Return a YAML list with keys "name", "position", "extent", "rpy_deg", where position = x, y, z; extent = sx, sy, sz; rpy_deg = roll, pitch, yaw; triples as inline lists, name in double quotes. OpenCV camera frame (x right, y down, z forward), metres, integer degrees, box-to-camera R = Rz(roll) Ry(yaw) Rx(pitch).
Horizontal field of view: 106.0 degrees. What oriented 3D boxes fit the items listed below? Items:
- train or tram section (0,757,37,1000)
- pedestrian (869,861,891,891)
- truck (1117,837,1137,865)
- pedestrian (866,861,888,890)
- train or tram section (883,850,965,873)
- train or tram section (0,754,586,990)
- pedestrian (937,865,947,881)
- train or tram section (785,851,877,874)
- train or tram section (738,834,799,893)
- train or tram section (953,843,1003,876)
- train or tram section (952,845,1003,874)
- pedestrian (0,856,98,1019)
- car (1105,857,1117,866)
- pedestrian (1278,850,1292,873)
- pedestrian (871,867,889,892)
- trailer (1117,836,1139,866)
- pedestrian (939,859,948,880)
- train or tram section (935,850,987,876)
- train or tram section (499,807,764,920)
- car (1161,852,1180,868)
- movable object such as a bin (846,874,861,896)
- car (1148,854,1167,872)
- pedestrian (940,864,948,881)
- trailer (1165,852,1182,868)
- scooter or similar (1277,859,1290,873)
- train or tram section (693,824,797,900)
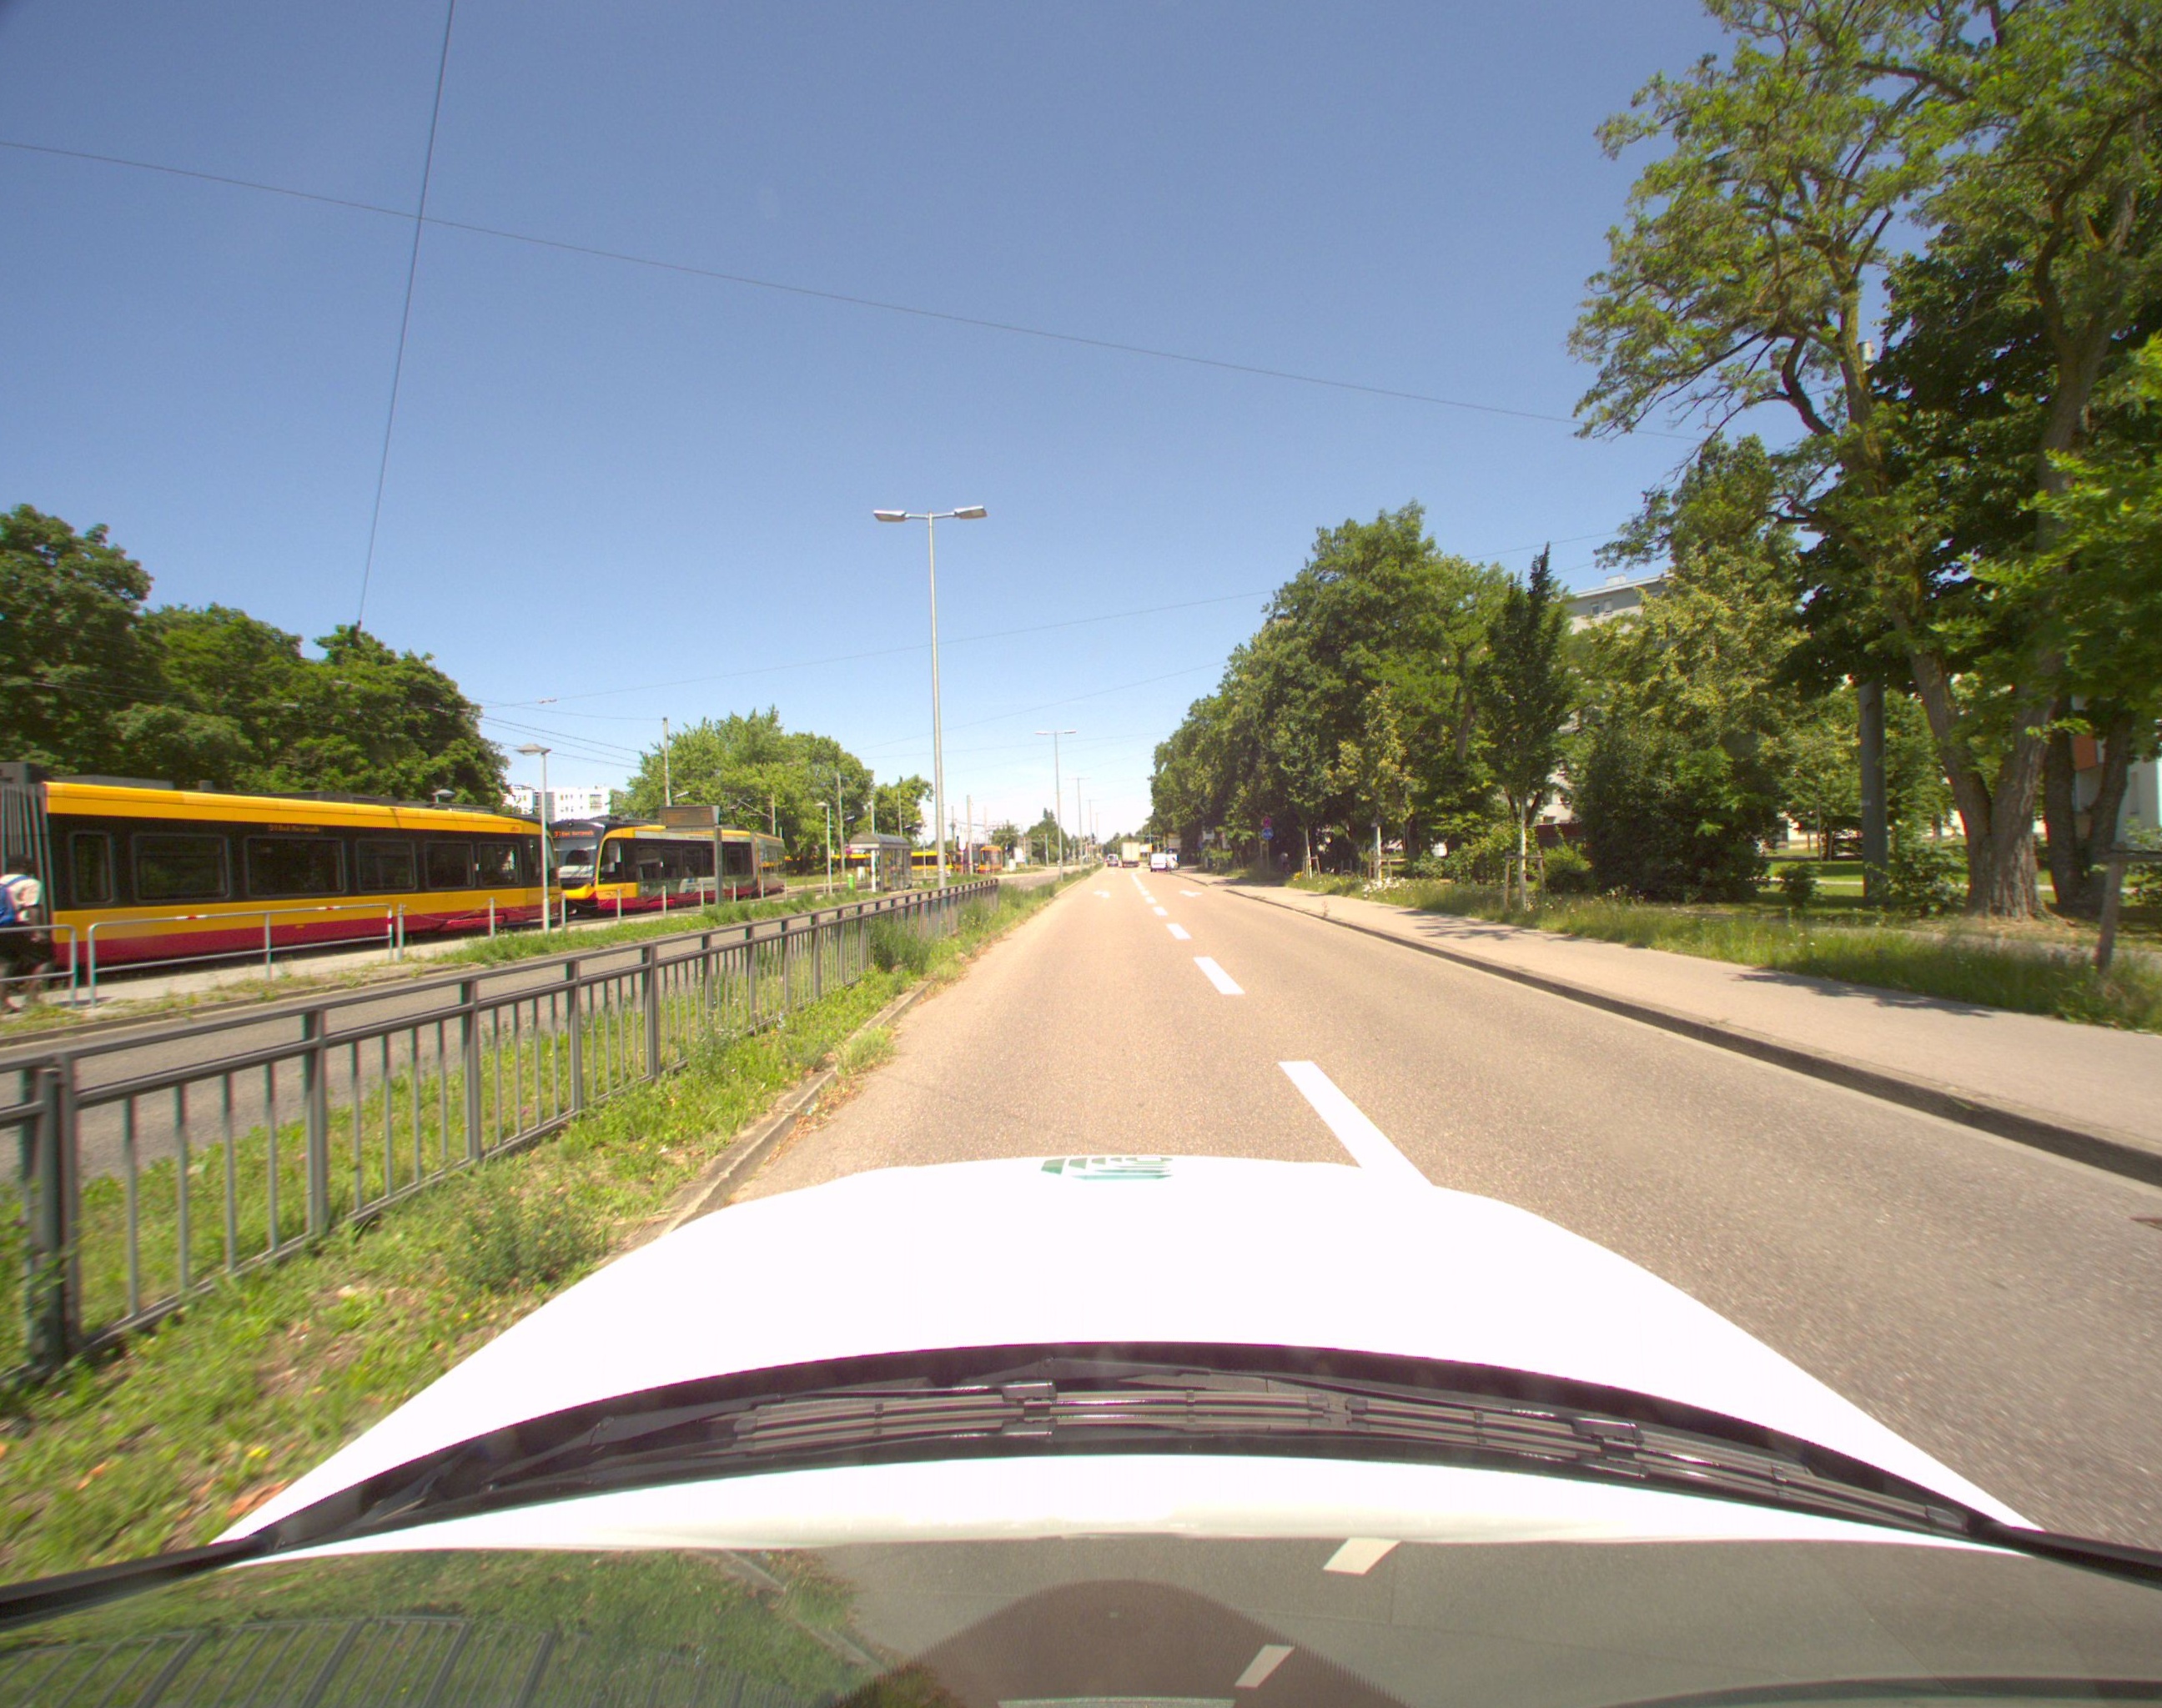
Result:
- name: "train or tram section"
  position: [-18.392, 0.388, 6.715]
  extent: [3.032, 3.741, 12.602]
  rpy_deg: [-1, 0, 2]
- name: "pedestrian"
  position: [-10.677, 1.152, 43.320]
  extent: [0.871, 1.546, 1.026]
  rpy_deg: [-1, 0, 0]
- name: "truck"
  position: [7.331, -0.431, 130.380]
  extent: [2.817, 4.344, 8.285]
  rpy_deg: [0, 0, 1]
- name: "pedestrian"
  position: [-11.120, 1.175, 44.455]
  extent: [0.927, 1.546, 0.985]
  rpy_deg: [-1, 0, 0]
- name: "train or tram section"
  position: [-24.262, 1.181, 125.418]
  extent: [12.600, 3.466, 3.062]
  rpy_deg: [-1, 0, 21]
- name: "train or tram section"
  position: [-17.808, 0.308, 19.693]
  extent: [3.031, 3.767, 13.270]
  rpy_deg: [-1, 0, 3]
- name: "pedestrian"
  position: [-10.052, 1.370, 59.008]
  extent: [0.578, 1.189, 0.537]
  rpy_deg: [-1, 0, 3]
- name: "train or tram section"
  position: [-38.878, 1.296, 126.912]
  extent: [13.196, 3.466, 3.042]
  rpy_deg: [-1, 0, -4]
- name: "train or tram section"
  position: [-21.913, 0.591, 56.679]
  extent: [3.059, 3.624, 12.348]
  rpy_deg: [0, 0, -25]
- name: "train or tram section"
  position: [-11.531, 0.554, 92.693]
  extent: [3.022, 3.466, 13.308]
  rpy_deg: [-1, 0, 4]
- name: "train or tram section"
  position: [-13.414, 0.680, 104.417]
  extent: [3.054, 3.466, 10.129]
  rpy_deg: [0, 0, -28]
- name: "pedestrian"
  position: [-12.069, 0.916, 9.348]
  extent: [0.629, 1.791, 0.776]
  rpy_deg: [-1, 0, 0]
- name: "car"
  position: [4.860, 1.221, 133.068]
  extent: [1.885, 1.371, 4.432]
  rpy_deg: [1, 1, 2]
- name: "pedestrian"
  position: [12.822, 0.484, 51.093]
  extent: [0.705, 1.398, 0.763]
  rpy_deg: [-1, 0, 3]
- name: "pedestrian"
  position: [-10.240, 1.294, 41.505]
  extent: [0.699, 1.283, 0.840]
  rpy_deg: [-1, 0, 0]
- name: "trailer"
  position: [6.966, -0.433, 121.914]
  extent: [2.817, 4.421, 8.750]
  rpy_deg: [-1, 0, 1]
- name: "pedestrian"
  position: [-10.174, 1.172, 60.442]
  extent: [0.533, 1.565, 0.582]
  rpy_deg: [-1, 0, 1]
- name: "train or tram section"
  position: [-17.110, 1.174, 115.174]
  extent: [3.054, 3.466, 12.633]
  rpy_deg: [0, 0, -28]
- name: "train or tram section"
  position: [-17.265, 0.316, 33.330]
  extent: [3.033, 3.624, 13.897]
  rpy_deg: [-1, 0, 0]
- name: "car"
  position: [9.847, 0.670, 90.037]
  extent: [1.693, 1.654, 4.399]
  rpy_deg: [-1, 0, 1]
- name: "movable object such as a bin"
  position: [-10.573, 1.421, 37.847]
  extent: [0.480, 0.978, 0.644]
  rpy_deg: [-2, 0, -2]
- name: "car"
  position: [7.530, 0.891, 80.348]
  extent: [1.702, 1.747, 4.431]
  rpy_deg: [-1, 0, 3]
- name: "pedestrian"
  position: [-9.989, 1.365, 59.507]
  extent: [0.492, 1.189, 0.401]
  rpy_deg: [-1, 0, 3]
- name: "trailer"
  position: [9.783, 0.659, 86.401]
  extent: [1.463, 1.669, 2.856]
  rpy_deg: [-1, 0, 1]
- name: "scooter or similar"
  position: [12.853, 0.737, 51.653]
  extent: [0.705, 0.893, 0.763]
  rpy_deg: [-1, 0, 3]
- name: "train or tram section"
  position: [-18.310, 0.390, 45.369]
  extent: [3.046, 3.624, 12.401]
  rpy_deg: [0, 0, -12]
